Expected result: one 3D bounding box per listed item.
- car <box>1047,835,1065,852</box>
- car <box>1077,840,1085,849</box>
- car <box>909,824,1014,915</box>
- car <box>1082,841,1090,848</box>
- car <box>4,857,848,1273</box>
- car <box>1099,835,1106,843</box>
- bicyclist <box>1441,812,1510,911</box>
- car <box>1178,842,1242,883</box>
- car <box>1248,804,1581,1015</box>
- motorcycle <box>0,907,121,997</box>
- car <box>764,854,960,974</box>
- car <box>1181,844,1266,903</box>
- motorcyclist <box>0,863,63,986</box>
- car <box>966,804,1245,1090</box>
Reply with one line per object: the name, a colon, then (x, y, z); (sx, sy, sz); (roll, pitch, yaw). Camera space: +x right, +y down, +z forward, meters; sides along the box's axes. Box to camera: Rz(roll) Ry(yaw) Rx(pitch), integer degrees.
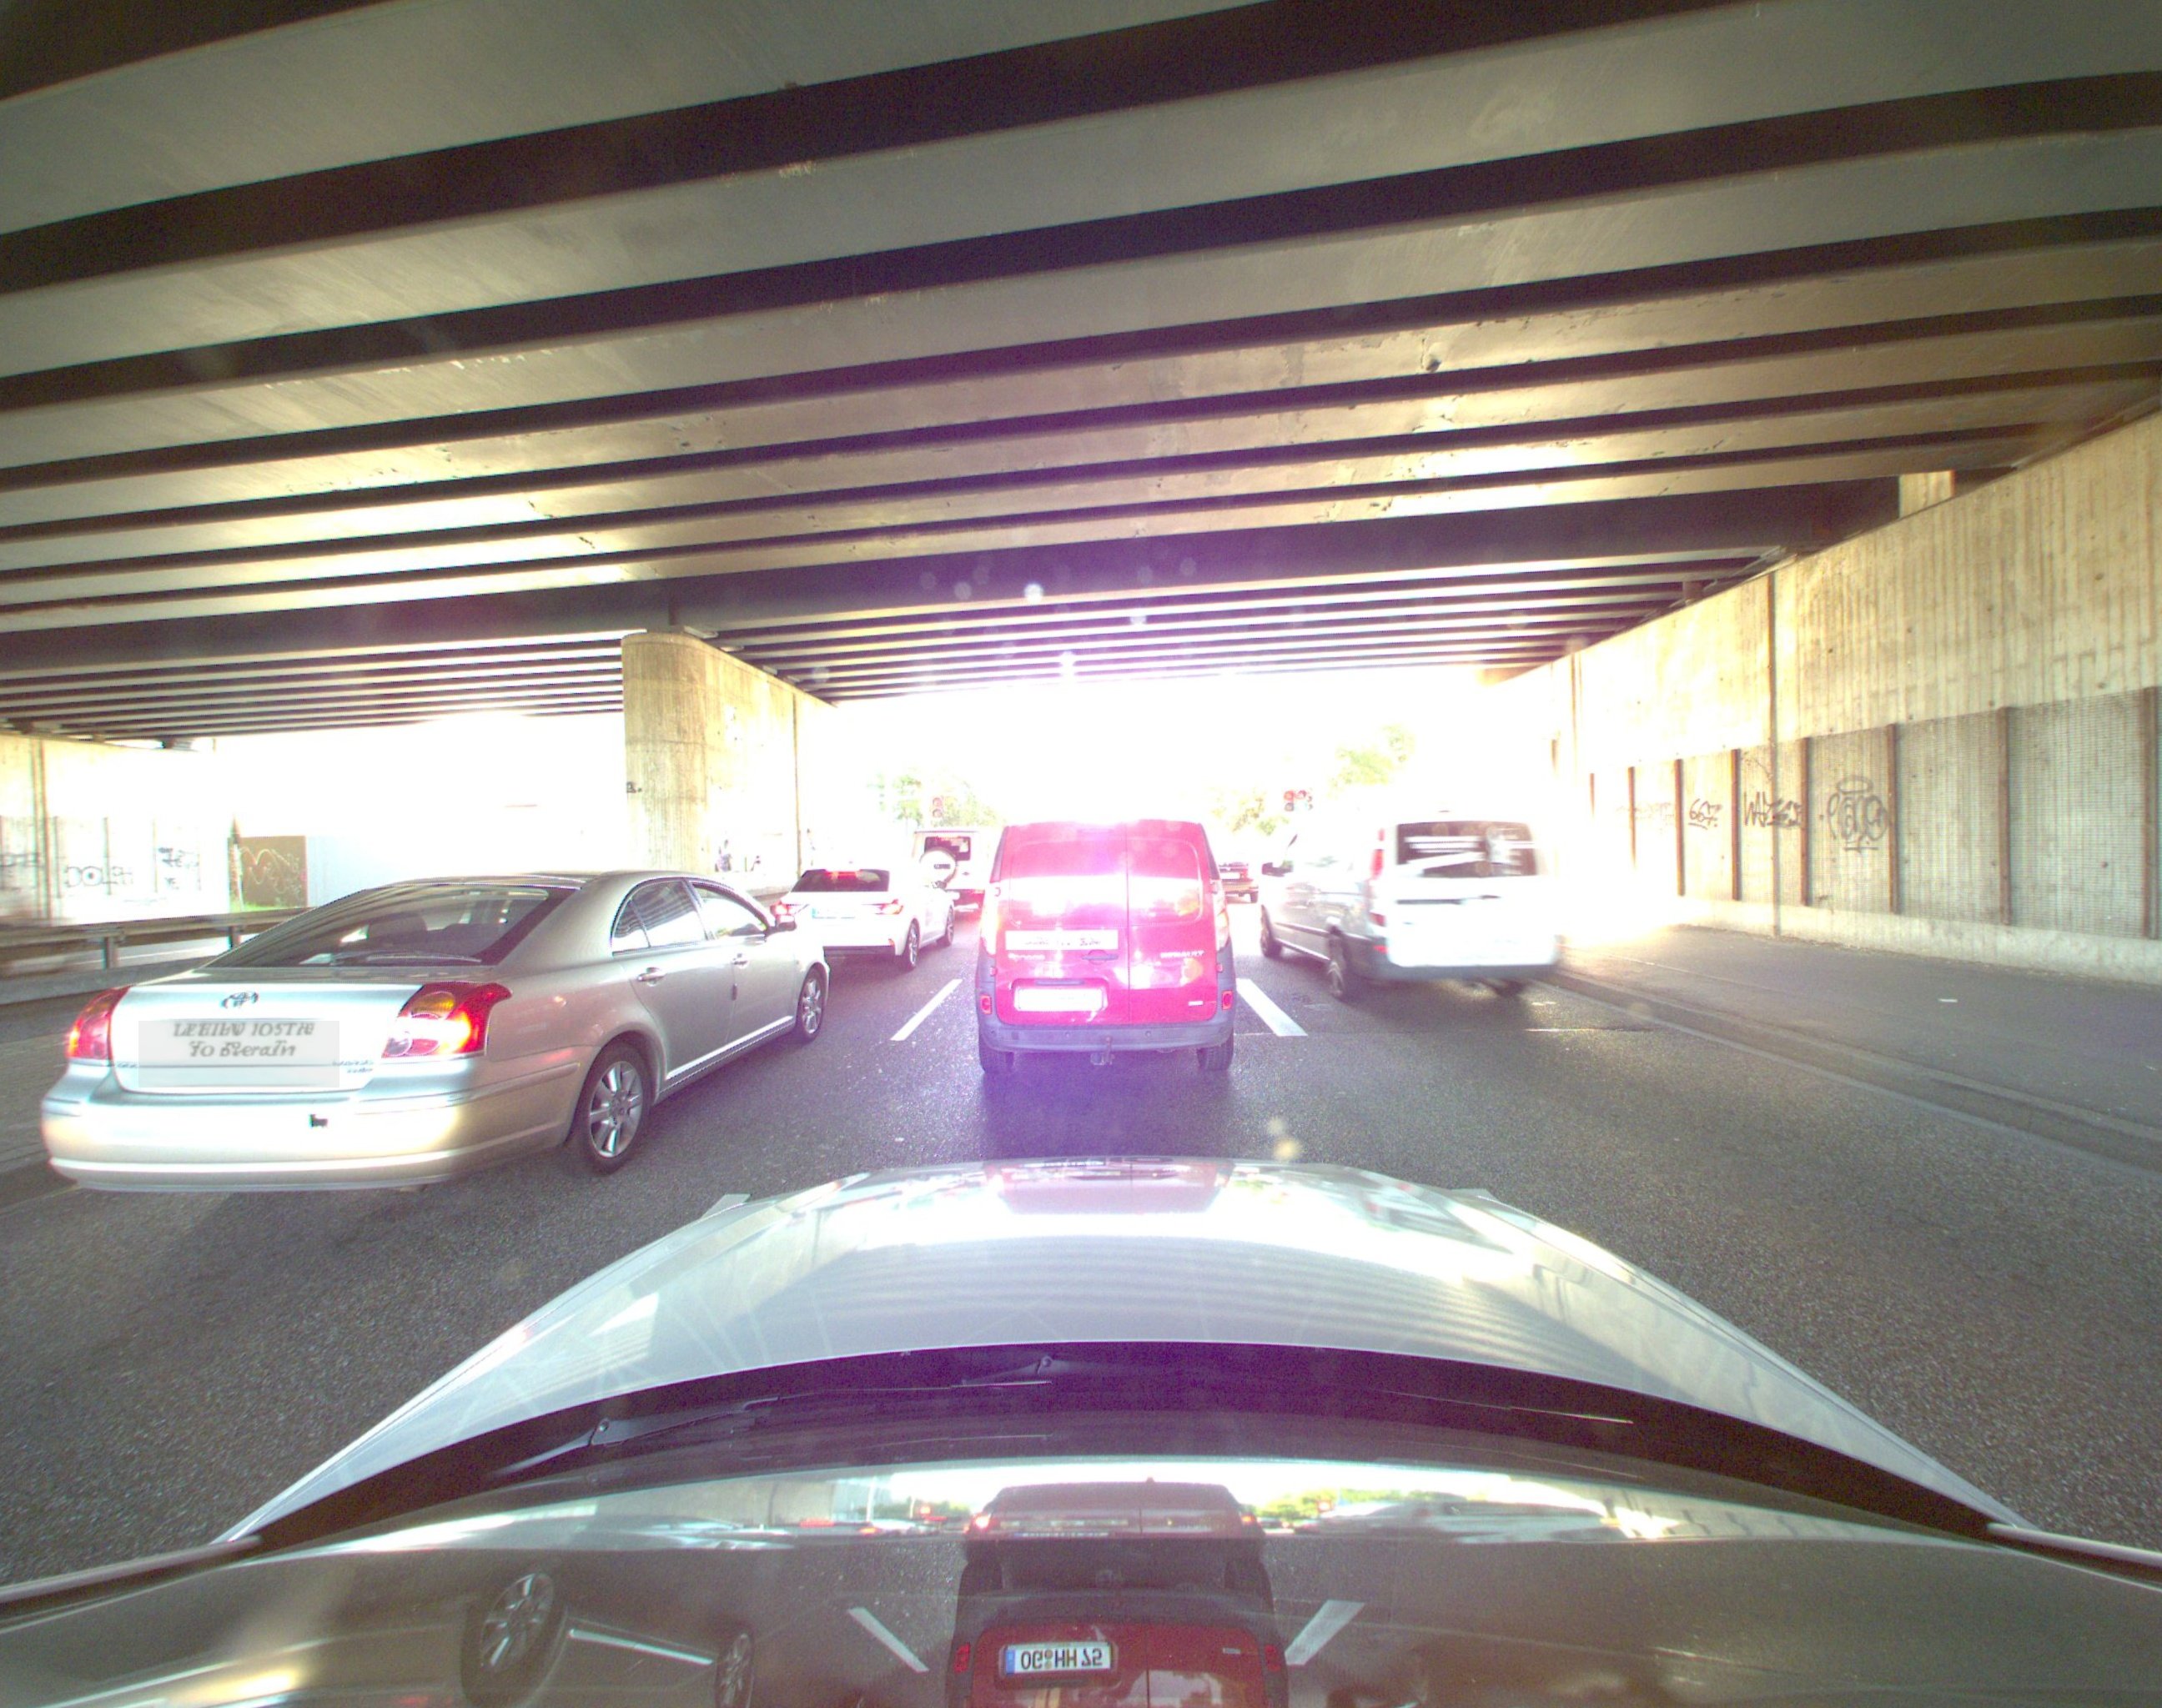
car: (-3.111, -1.323, 100.861); (1.986, 2.014, 4.001); (0, 0, 2)
car: (0.038, -2.353, 199.248); (1.741, 2.014, 3.846); (0, 0, 2)
car: (-2.672, 0.317, 19.010); (1.807, 1.904, 3.814); (0, 0, 1)
car: (1.427, -2.746, 231.319); (1.986, 2.014, 4.001); (0, 0, 2)
car: (-2.989, 0.771, 5.131); (1.690, 1.455, 4.399); (0, 0, 1)
car: (5.812, -4.012, 220.920); (1.986, 2.014, 4.001); (0, 0, 2)
bicyclist: (6.435, 0.108, 13.310); (0.650, 1.533, 0.847); (-4, 1, 0)
car: (4.922, 0.291, 31.651); (1.740, 1.456, 4.663); (0, 0, 0)
car: (3.437, 0.479, 9.575); (1.892, 1.836, 4.833); (0, 0, -1)
motorcycle: (-13.871, 1.277, 10.432); (0.690, 1.027, 2.010); (-1, 1, 2)
car: (-2.915, 0.724, 11.680); (1.686, 1.410, 3.814); (0, 0, 1)
car: (3.812, 0.482, 22.341); (1.739, 1.456, 3.717); (0, 0, 1)
motorcyclist: (-13.863, 0.883, 10.458); (0.694, 1.527, 0.698); (0, 0, 1)
car: (0.215, 0.574, 7.050); (1.712, 1.764, 4.002); (0, 0, 2)
